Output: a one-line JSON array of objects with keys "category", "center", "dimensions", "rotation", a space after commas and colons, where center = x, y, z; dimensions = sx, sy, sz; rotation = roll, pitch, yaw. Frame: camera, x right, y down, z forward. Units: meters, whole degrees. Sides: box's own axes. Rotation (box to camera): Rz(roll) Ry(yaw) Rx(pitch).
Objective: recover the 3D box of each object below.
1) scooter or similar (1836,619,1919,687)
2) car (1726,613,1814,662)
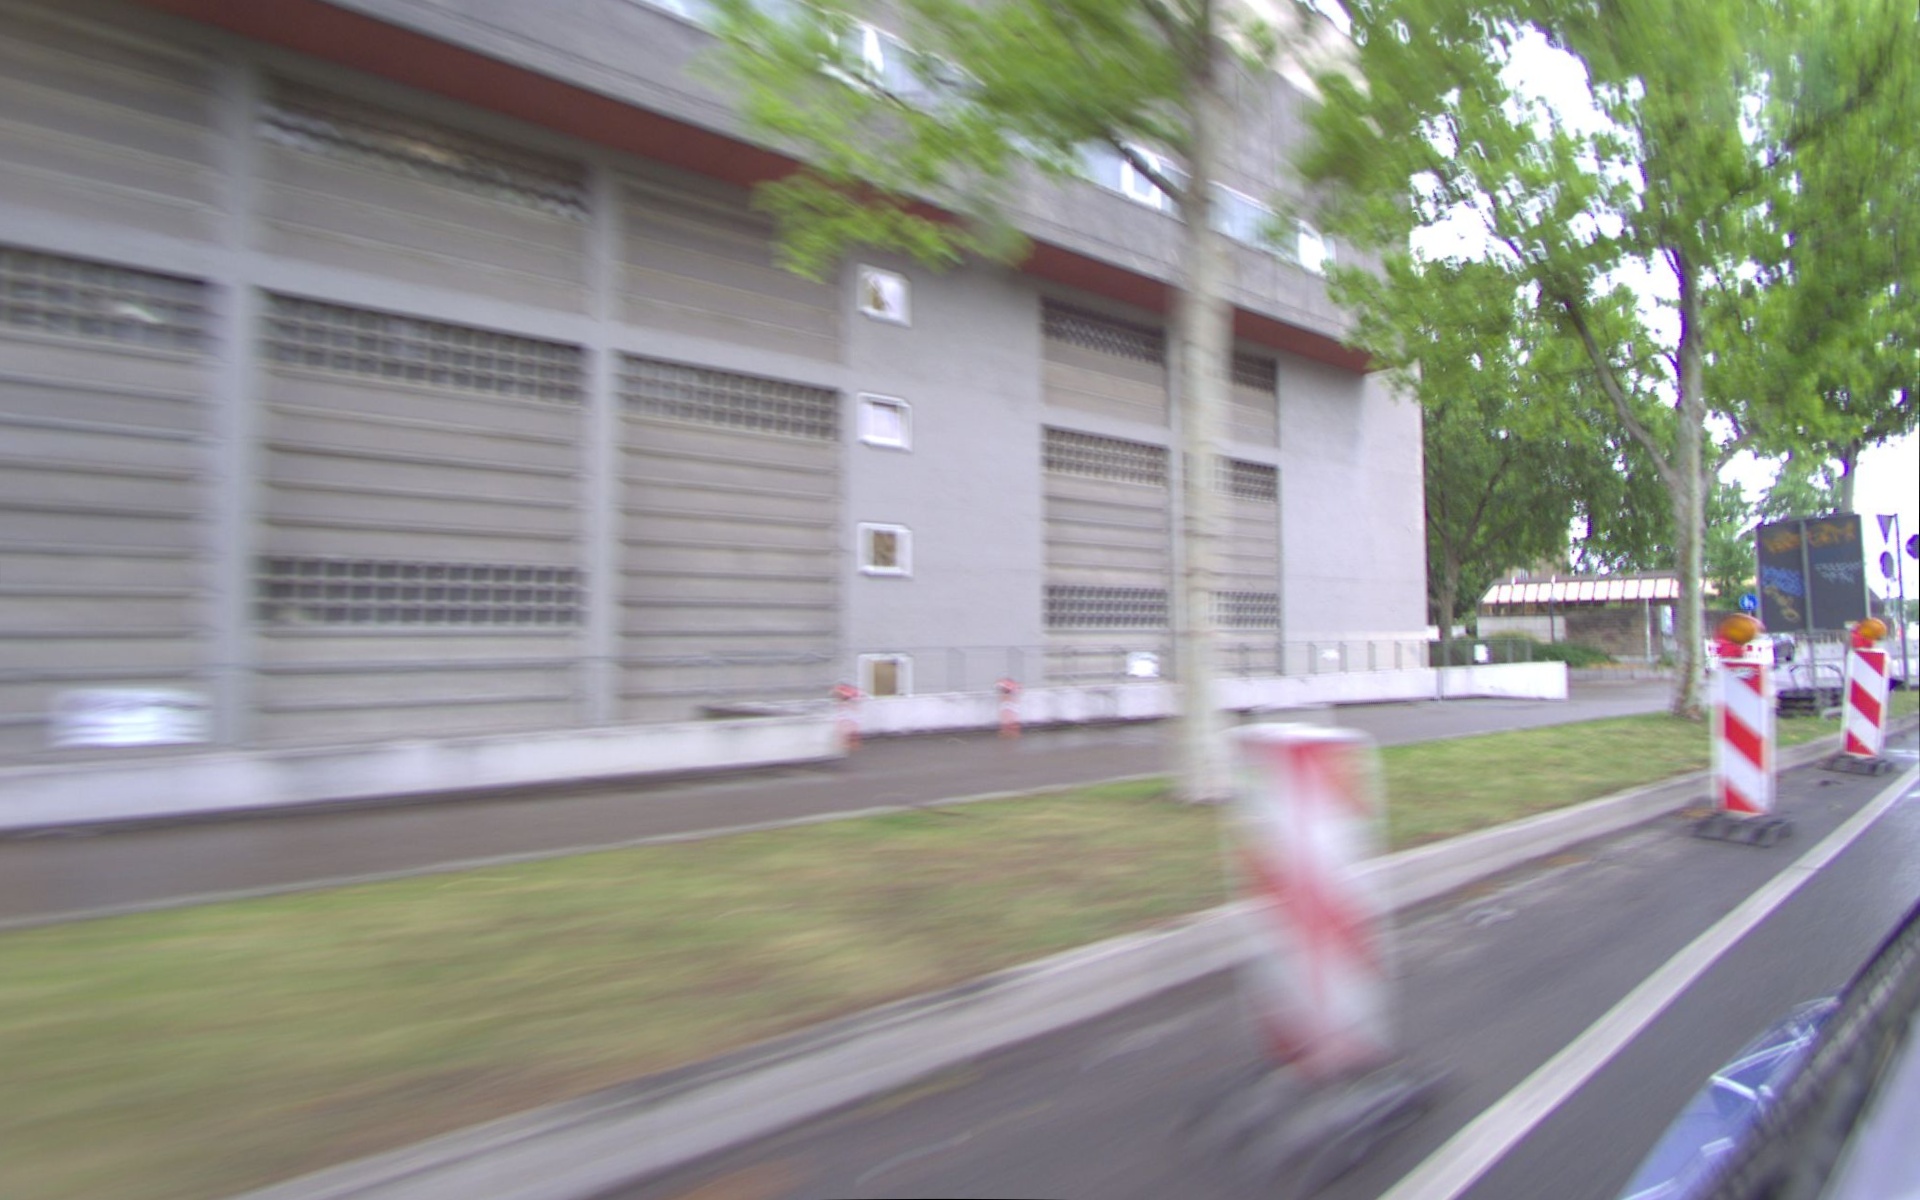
[{"category": "scooter or similar", "center": [19.415, 1.120, 21.224], "dimensions": [0.608, 1.302, 1.357], "rotation": [-1, -6, -39]}, {"category": "car", "center": [33.987, 1.532, 42.442], "dimensions": [4.246, 1.570, 1.811], "rotation": [-4, 5, -36]}]
